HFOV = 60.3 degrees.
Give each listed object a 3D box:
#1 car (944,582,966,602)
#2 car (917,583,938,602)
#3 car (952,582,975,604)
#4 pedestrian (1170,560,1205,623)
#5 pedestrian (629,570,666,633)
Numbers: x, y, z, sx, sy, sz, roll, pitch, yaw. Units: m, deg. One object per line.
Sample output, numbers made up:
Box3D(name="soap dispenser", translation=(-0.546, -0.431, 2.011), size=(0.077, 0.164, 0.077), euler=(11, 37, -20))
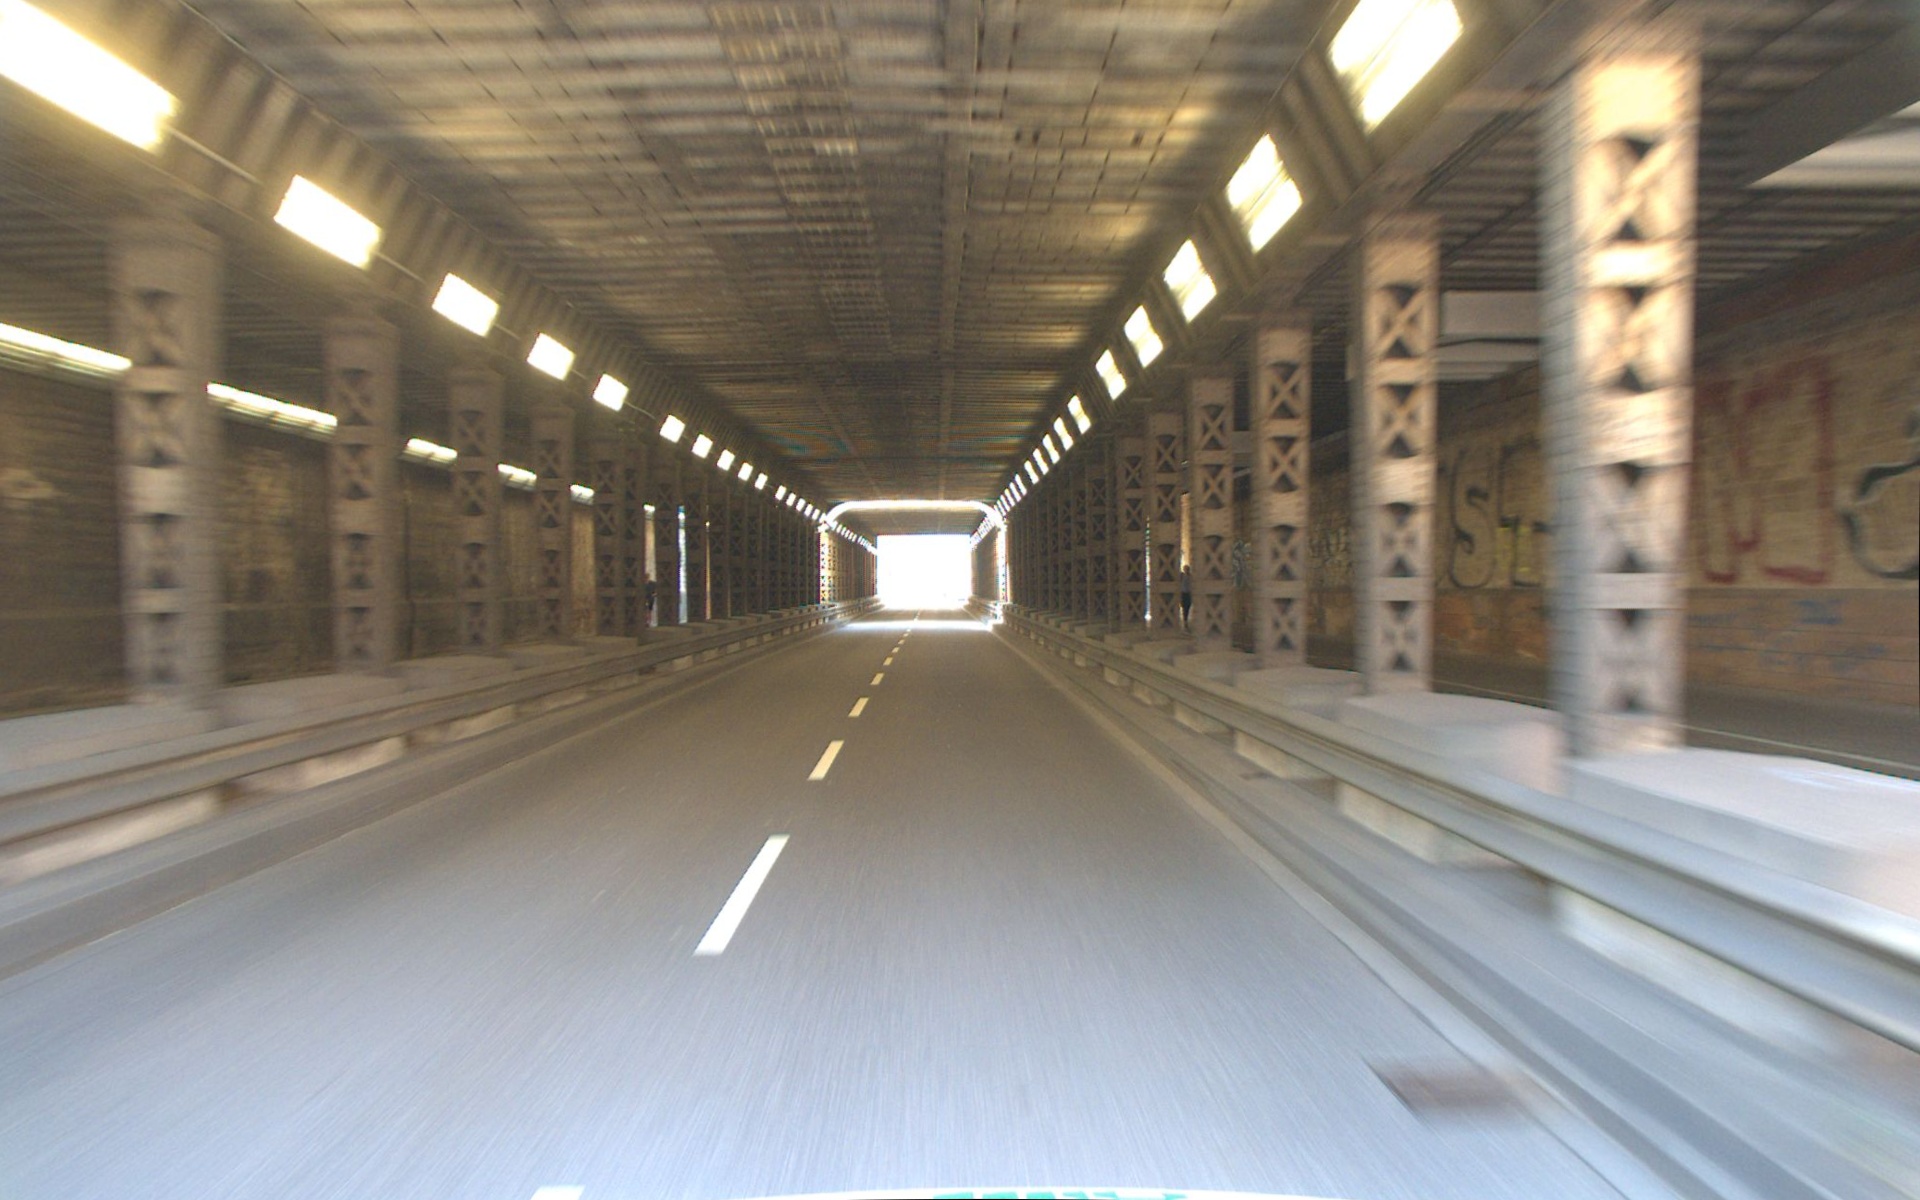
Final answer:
Box3D(name="car", translation=(-0.451, -0.728, 151.118), size=(1.953, 1.815, 3.999), euler=(-1, 0, -1))
Box3D(name="car", translation=(-3.067, -0.725, 157.515), size=(1.953, 1.815, 3.999), euler=(-1, 0, -1))
Box3D(name="car", translation=(0.289, -0.605, 141.720), size=(1.953, 1.815, 3.999), euler=(-1, 0, -1))
Box3D(name="pedestrian", translation=(6.438, -0.240, 46.823), size=(0.783, 1.731, 1.111), euler=(-2, 0, -2))
Box3D(name="pedestrian", translation=(-10.384, 0.063, 54.990), size=(0.939, 2.091, 1.355), euler=(0, -1, 0))
